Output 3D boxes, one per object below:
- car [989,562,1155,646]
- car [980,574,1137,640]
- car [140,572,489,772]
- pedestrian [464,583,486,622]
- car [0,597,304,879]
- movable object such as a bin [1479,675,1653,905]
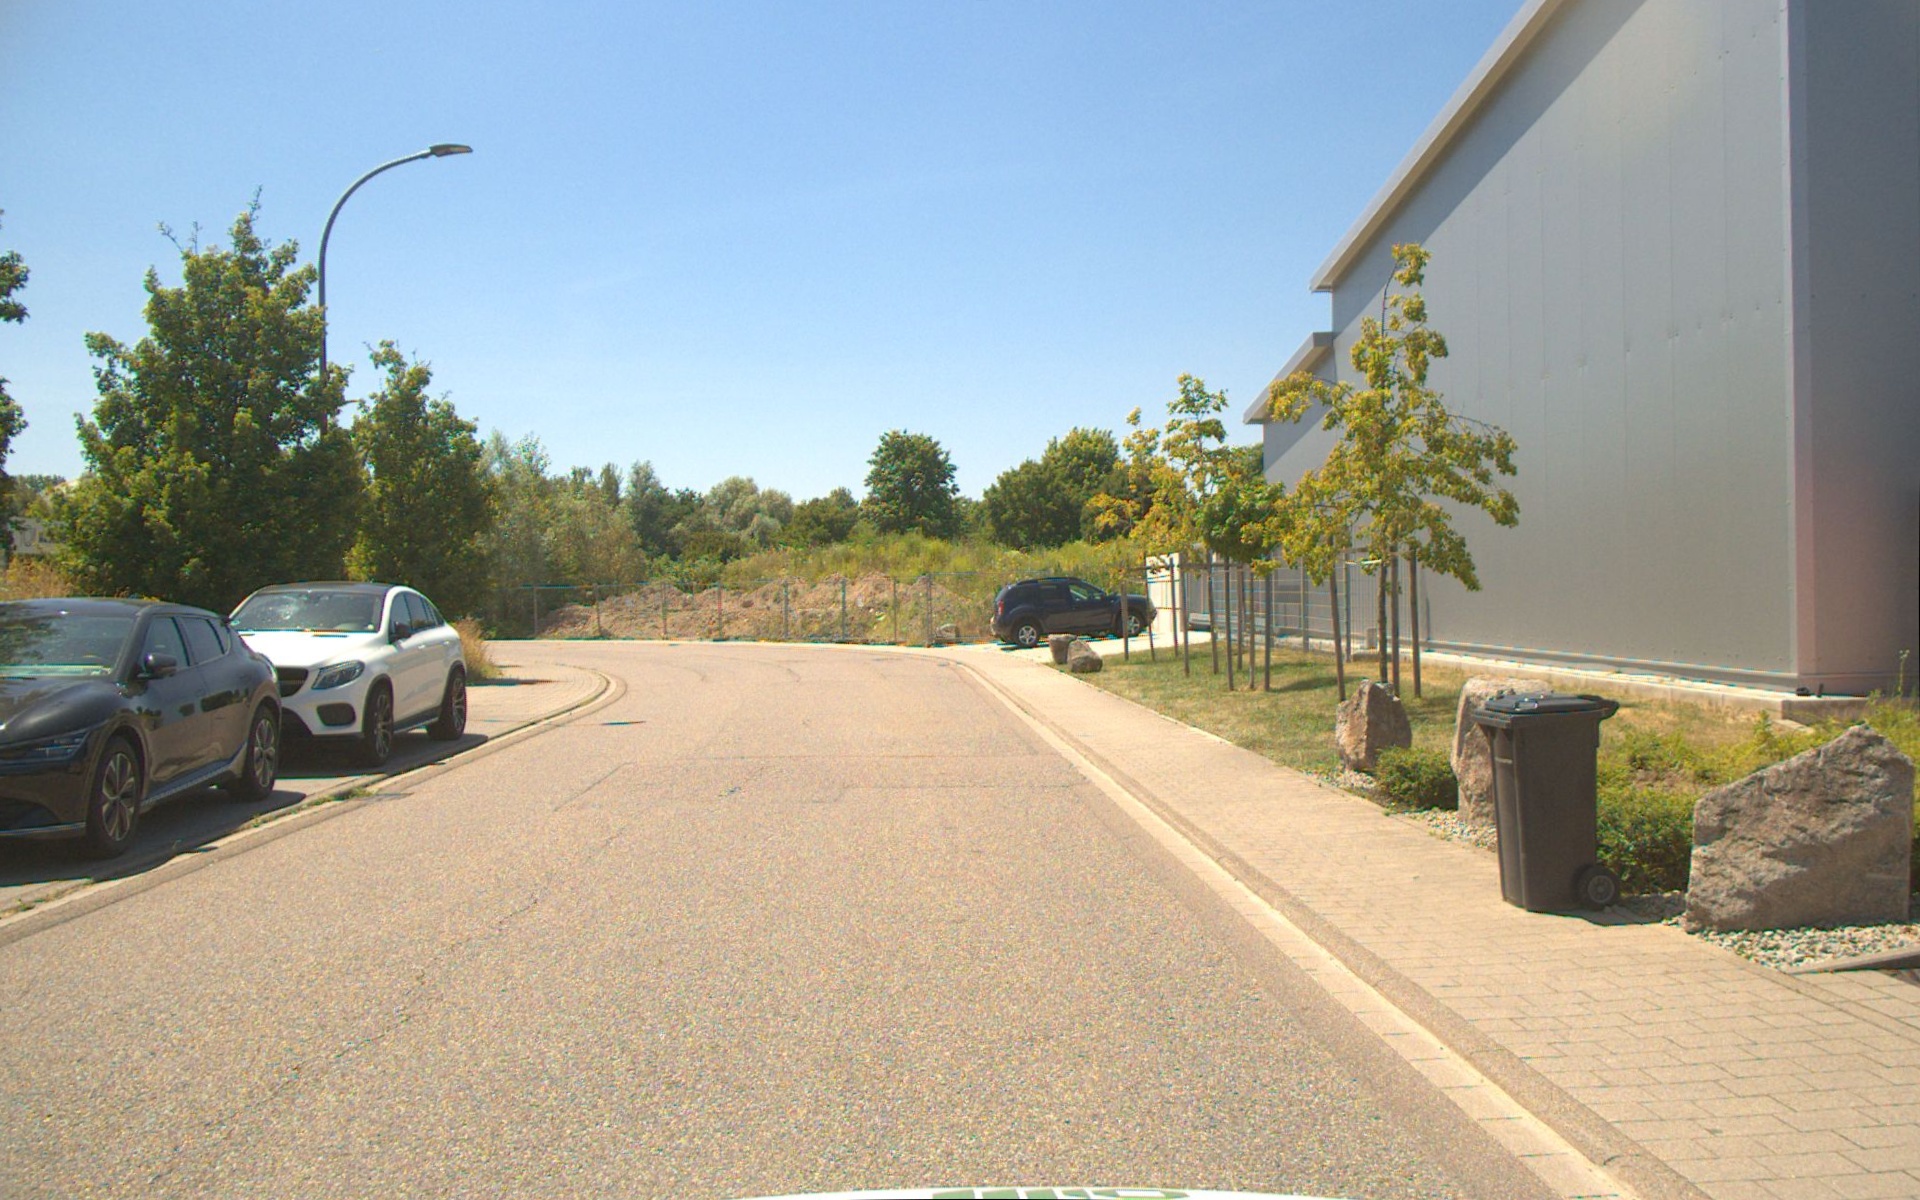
[{"bbox_3d":[2.827,0.087,42.341,3.932,1.683,1.857,-6,1,-4],"label":"car"},{"bbox_3d":[2.622,0.177,44.513,3.931,1.487,1.891,-4,1,-4],"label":"car"},{"bbox_3d":[-6.331,0.619,16.873,1.874,1.684,4.751,-2,0,-3],"label":"car"},{"bbox_3d":[-23.331,0.109,79.647,0.859,1.856,0.739,-1,0,-5],"label":"pedestrian"},{"bbox_3d":[-6.120,0.765,11.337,1.875,1.517,4.408,0,1,-6],"label":"car"},{"bbox_3d":[2.765,0.851,7.583,0.547,0.963,0.539,-2,0,-5],"label":"movable object such as a bin"}]
